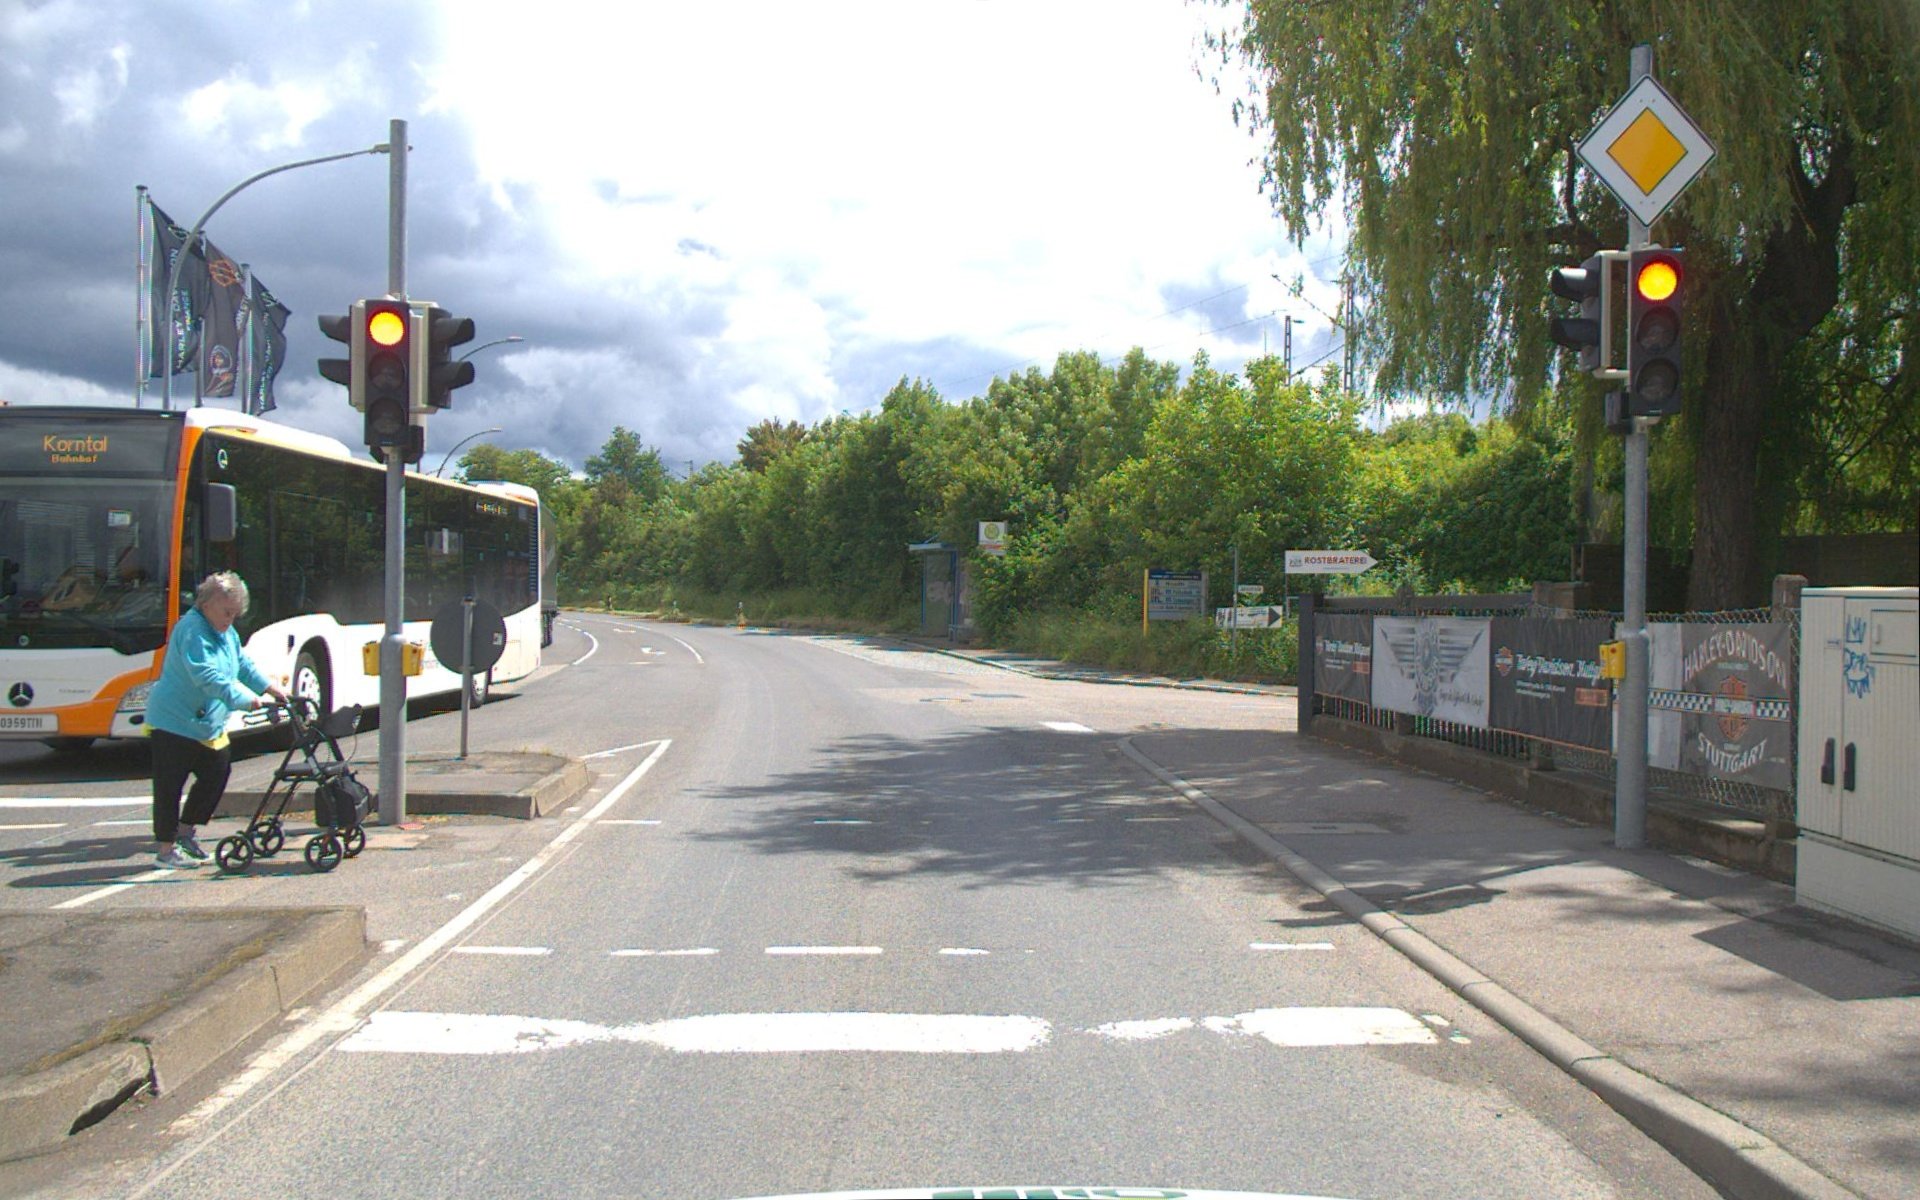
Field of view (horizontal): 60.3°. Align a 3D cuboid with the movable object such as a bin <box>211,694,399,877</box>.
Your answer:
[{"bbox_3d":[-3.432,0.960,8.724,0.731,0.887,0.670,1,0,-4],"label":"movable object such as a bin"}]

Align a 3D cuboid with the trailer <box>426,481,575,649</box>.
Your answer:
[{"bbox_3d":[-13.199,-0.839,48.797,2.748,4.124,15.517,1,0,-10],"label":"trailer"}]

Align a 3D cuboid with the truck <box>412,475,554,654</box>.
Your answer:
[{"bbox_3d":[-11.975,-0.815,42.015,2.748,4.124,6.484,1,0,-10],"label":"truck"}]

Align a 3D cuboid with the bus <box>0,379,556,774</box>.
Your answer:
[{"bbox_3d":[-7.399,-0.162,19.049,2.663,3.084,12.263,0,0,-1],"label":"bus"}]

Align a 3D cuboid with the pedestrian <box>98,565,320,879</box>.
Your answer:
[{"bbox_3d":[-3.917,0.619,8.688,0.822,1.570,0.733,1,-1,-4],"label":"pedestrian"}]
